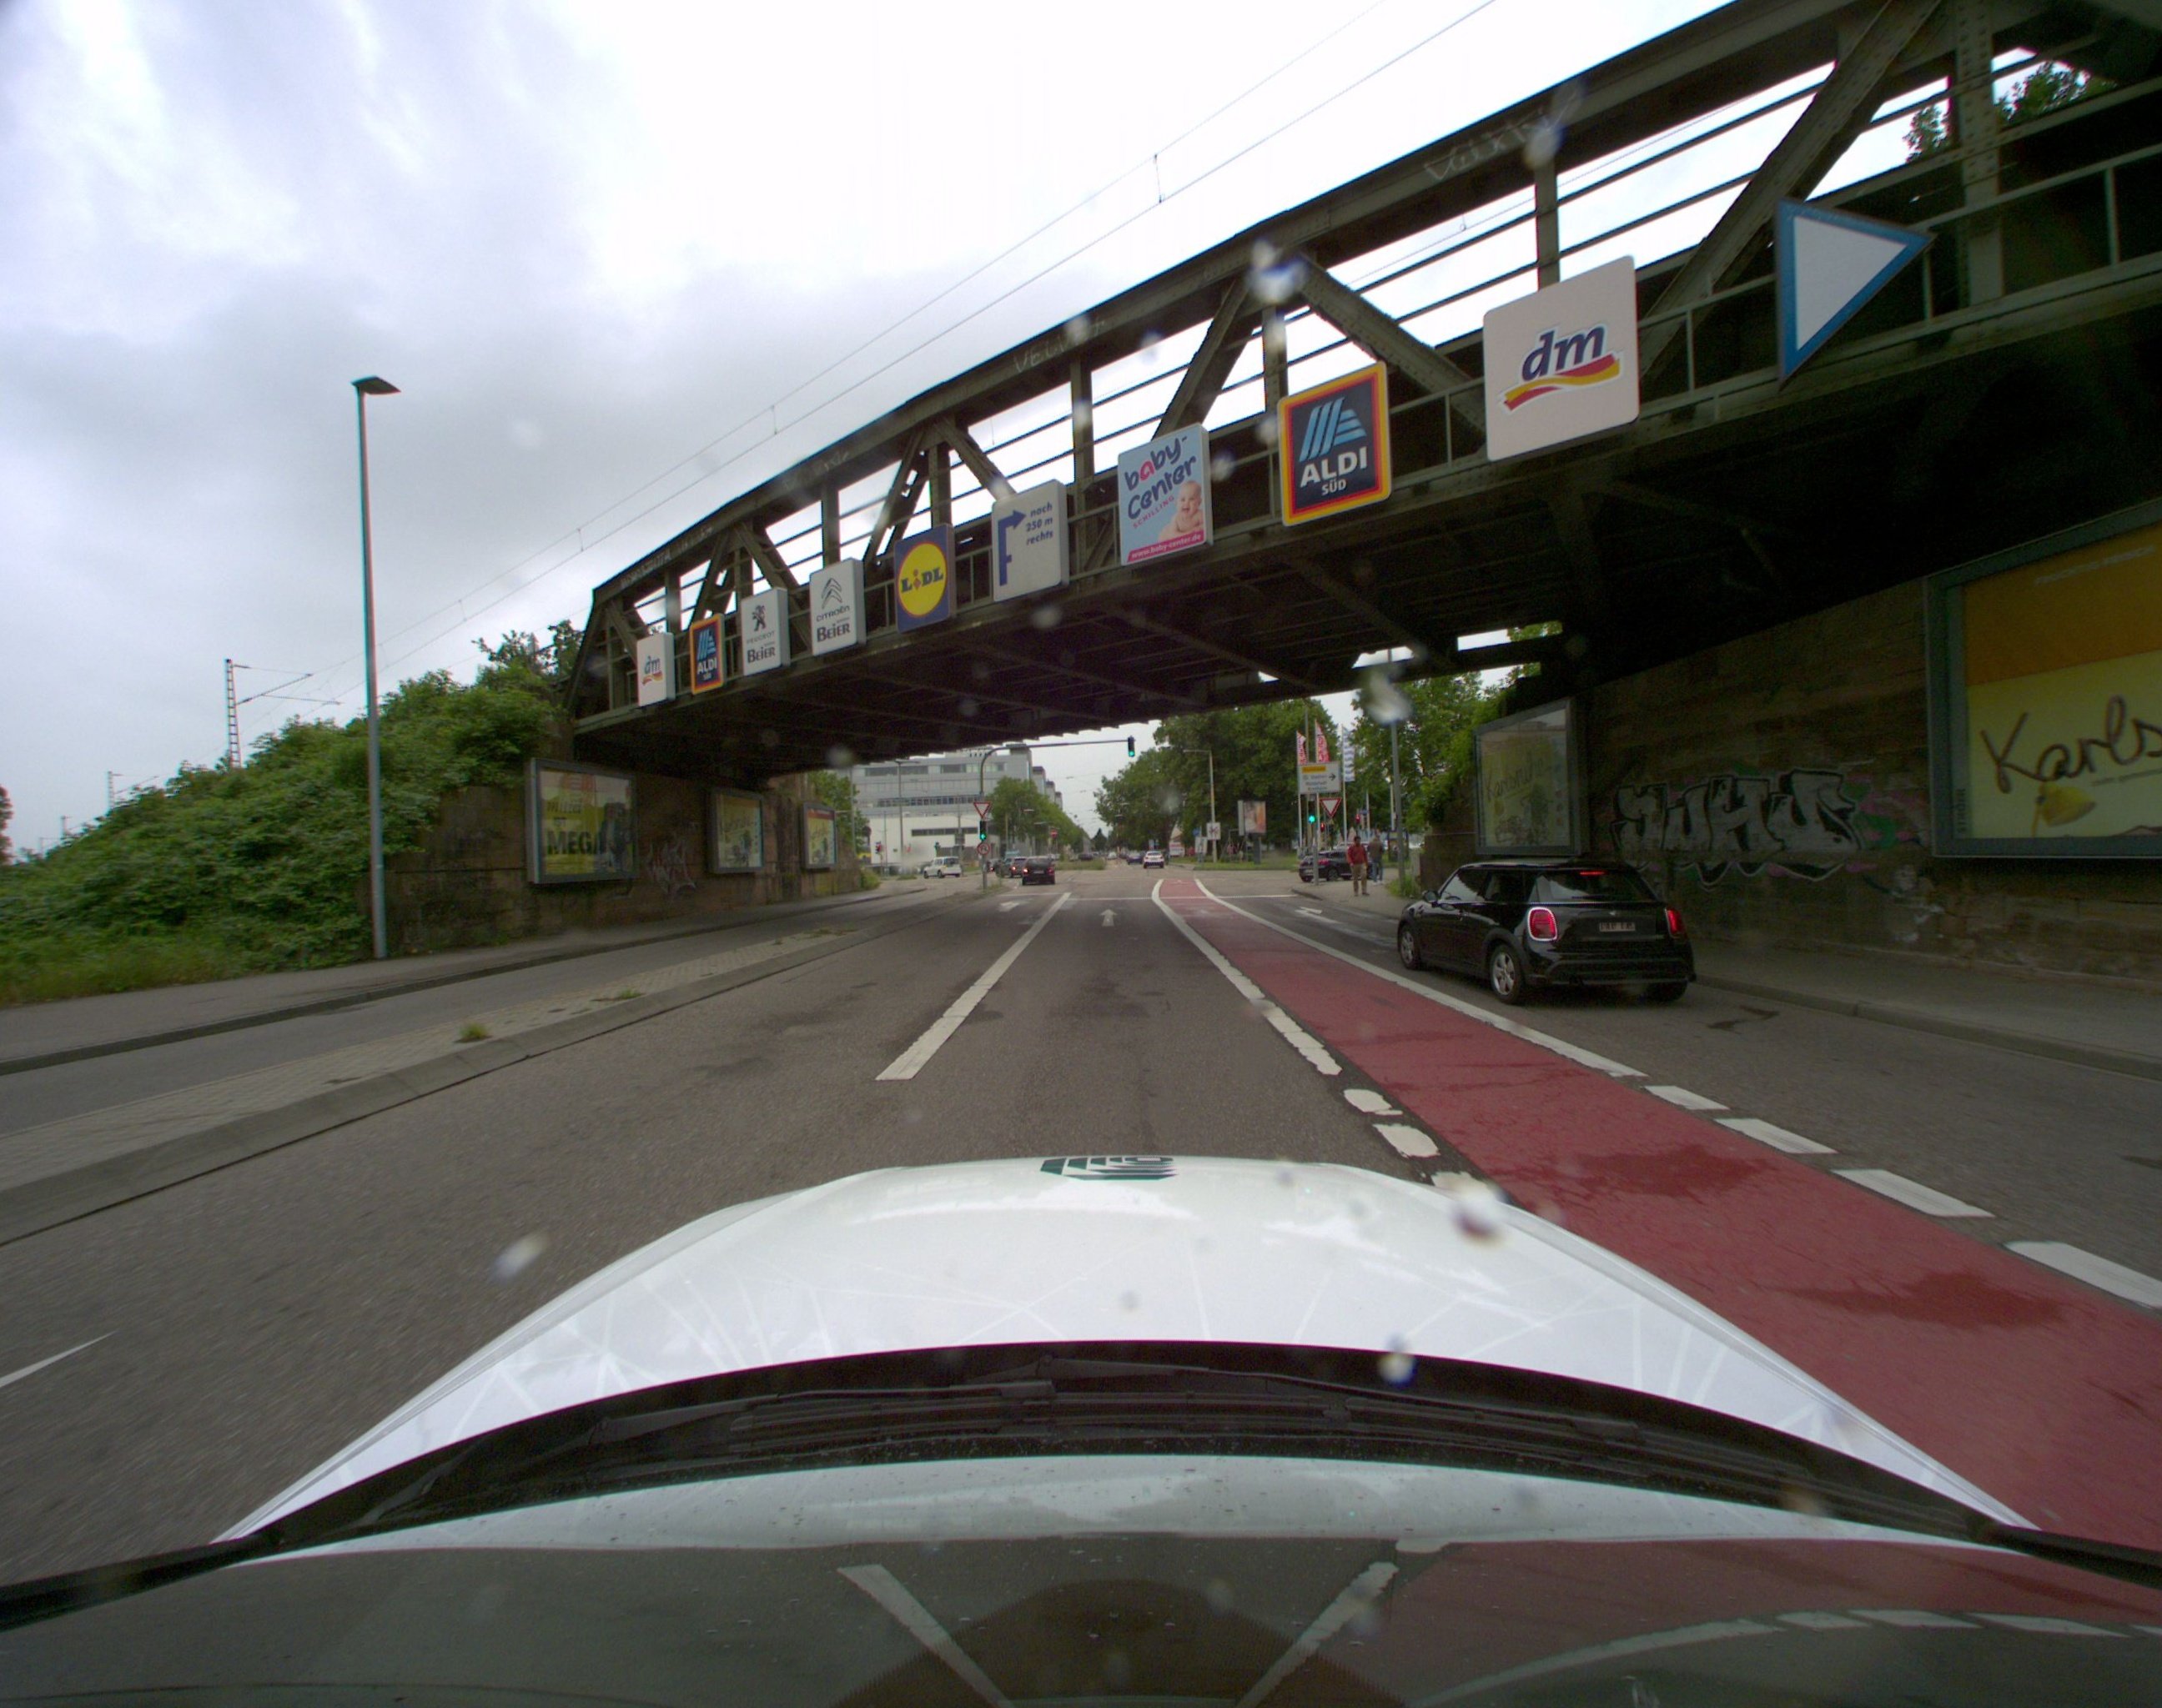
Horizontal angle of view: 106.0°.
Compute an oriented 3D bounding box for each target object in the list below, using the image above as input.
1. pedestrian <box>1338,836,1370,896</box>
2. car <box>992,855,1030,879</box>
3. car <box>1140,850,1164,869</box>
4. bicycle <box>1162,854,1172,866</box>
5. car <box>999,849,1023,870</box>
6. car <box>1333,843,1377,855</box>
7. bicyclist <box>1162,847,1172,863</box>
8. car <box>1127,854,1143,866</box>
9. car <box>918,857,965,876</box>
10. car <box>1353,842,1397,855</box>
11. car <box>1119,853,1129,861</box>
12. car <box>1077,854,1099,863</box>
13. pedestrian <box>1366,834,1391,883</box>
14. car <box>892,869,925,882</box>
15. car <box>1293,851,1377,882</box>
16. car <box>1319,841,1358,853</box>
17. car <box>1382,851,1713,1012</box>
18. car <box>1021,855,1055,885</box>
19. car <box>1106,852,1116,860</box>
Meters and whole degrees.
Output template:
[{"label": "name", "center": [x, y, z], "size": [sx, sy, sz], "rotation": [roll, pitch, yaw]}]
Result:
[{"label": "pedestrian", "center": [8.282, 0.352, 24.694], "size": [0.864, 1.759, 0.791], "rotation": [-2, 0, 20]}, {"label": "car", "center": [-5.150, 0.905, 59.545], "size": [1.779, 1.652, 3.644], "rotation": [-1, 0, -21]}, {"label": "car", "center": [6.428, 0.492, 74.017], "size": [1.818, 1.600, 3.773], "rotation": [-1, 0, -2]}, {"label": "bicycle", "center": [8.972, 0.596, 84.847], "size": [0.813, 1.212, 2.684], "rotation": [-3, 0, 1]}, {"label": "car", "center": [-9.794, 0.731, 114.535], "size": [2.317, 2.826, 5.957], "rotation": [-3, 0, 5]}, {"label": "car", "center": [34.156, -0.591, 101.588], "size": [4.660, 1.497, 2.170], "rotation": [-1, 0, -1]}, {"label": "bicyclist", "center": [8.946, 0.104, 84.847], "size": [0.813, 1.630, 1.235], "rotation": [-3, 0, 1]}, {"label": "car", "center": [6.686, 0.733, 101.457], "size": [1.679, 1.513, 3.704], "rotation": [-1, 0, -2]}, {"label": "car", "center": [-12.148, 1.075, 70.673], "size": [1.977, 1.527, 4.956], "rotation": [-1, 0, -36]}, {"label": "car", "center": [34.292, -0.636, 95.096], "size": [4.434, 1.497, 1.929], "rotation": [-1, -1, -4]}, {"label": "car", "center": [9.219, 0.689, 173.698], "size": [1.871, 1.632, 4.000], "rotation": [-3, 0, 0]}, {"label": "car", "center": [1.267, 0.720, 144.931], "size": [3.869, 1.556, 1.825], "rotation": [-1, -1, 0]}, {"label": "pedestrian", "center": [10.168, 0.156, 27.878], "size": [0.735, 1.640, 0.782], "rotation": [-2, 0, 18]}, {"label": "car", "center": [-24.623, 3.047, 116.349], "size": [4.194, 1.532, 1.914], "rotation": [-3, 0, 2]}, {"label": "car", "center": [11.407, 0.521, 36.543], "size": [3.426, 1.281, 1.639], "rotation": [-1, 0, -26]}, {"label": "car", "center": [34.002, -0.867, 107.399], "size": [4.521, 1.497, 1.957], "rotation": [-1, -1, -3]}, {"label": "car", "center": [4.949, 0.717, 9.313], "size": [1.673, 1.431, 3.774], "rotation": [-1, 0, 1]}, {"label": "car", "center": [-2.310, 0.834, 44.550], "size": [1.764, 1.527, 3.667], "rotation": [-1, 0, -2]}, {"label": "car", "center": [6.245, 0.443, 168.480], "size": [1.790, 1.513, 3.704], "rotation": [-1, 0, -2]}]
